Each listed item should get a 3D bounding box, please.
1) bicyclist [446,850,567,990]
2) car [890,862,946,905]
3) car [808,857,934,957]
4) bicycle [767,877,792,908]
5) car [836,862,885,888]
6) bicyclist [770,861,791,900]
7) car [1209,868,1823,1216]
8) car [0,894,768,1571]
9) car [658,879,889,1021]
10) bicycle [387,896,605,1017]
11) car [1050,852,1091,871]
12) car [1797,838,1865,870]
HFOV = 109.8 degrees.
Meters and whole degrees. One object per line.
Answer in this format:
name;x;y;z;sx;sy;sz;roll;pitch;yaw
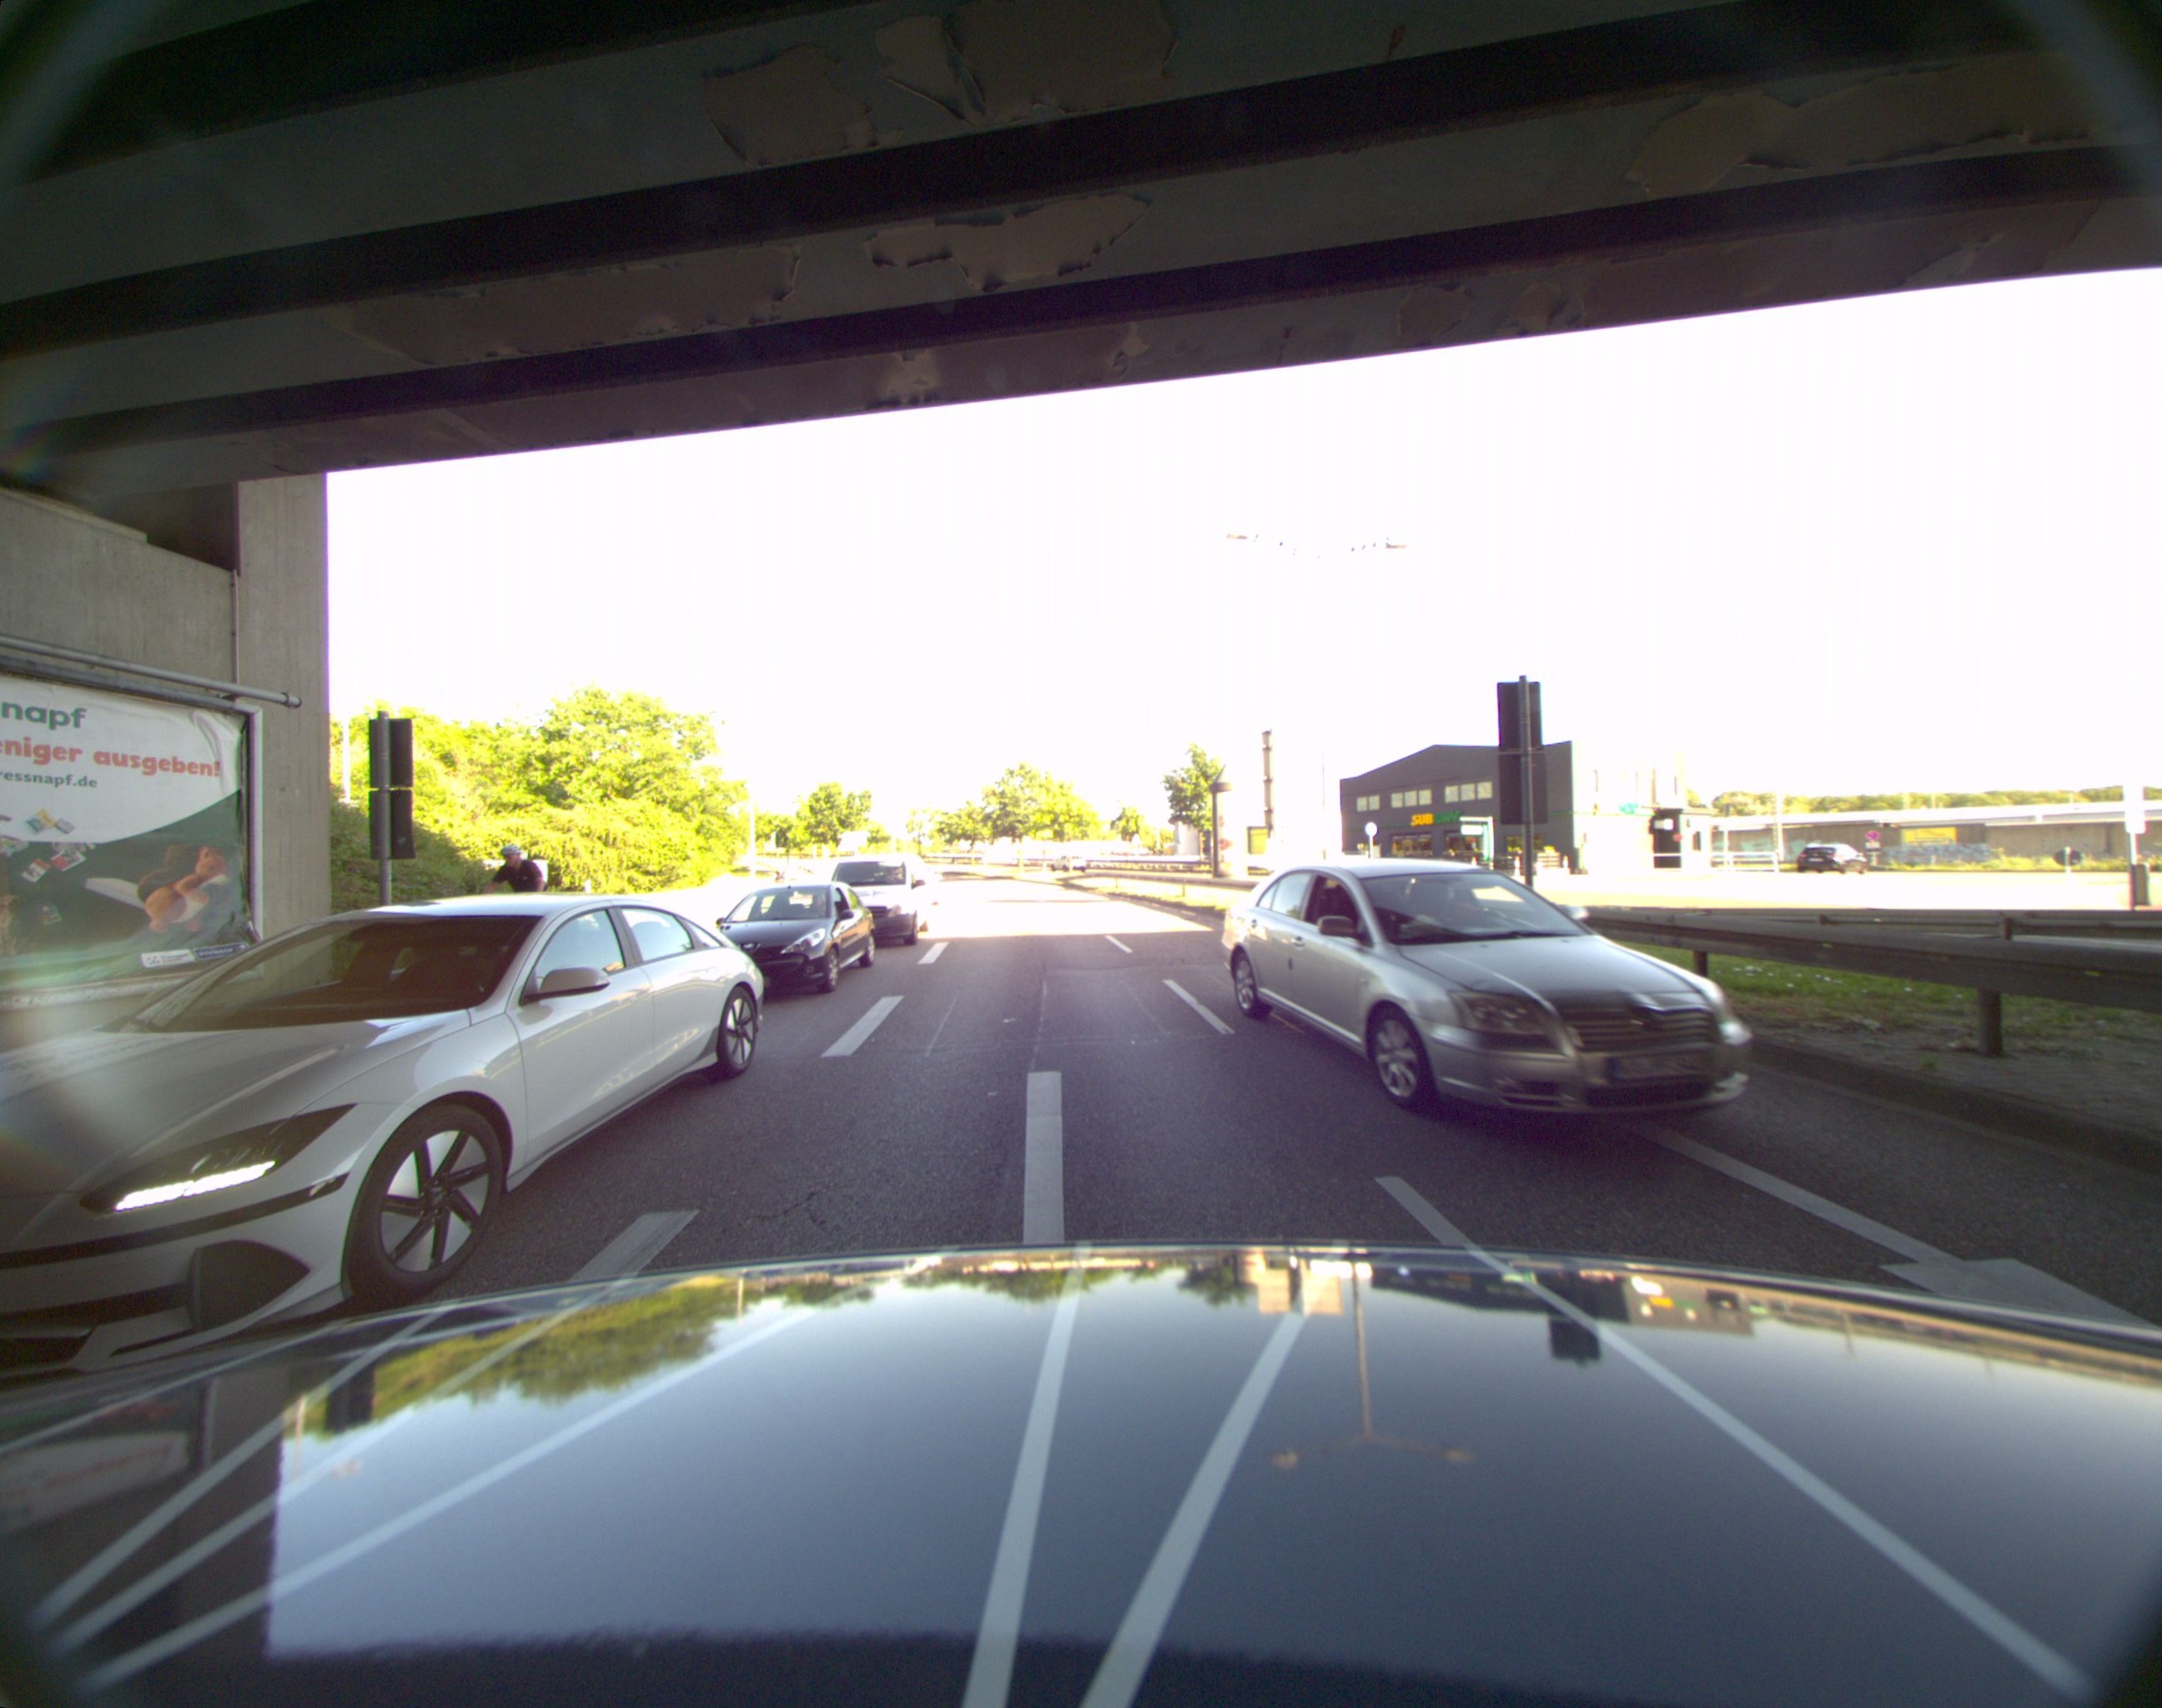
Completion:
bicyclist;-7.168;0.788;9.534;0.748;1.646;0.886;-3;1;0
car;-6.711;1.177;31.656;2.000;1.542;4.417;-2;1;-9
car;-4.435;1.007;16.814;1.903;1.825;4.832;-2;0;-7
bicycle;-11.971;1.519;30.205;0.653;1.160;1.776;1;-1;-15
car;-14.798;1.354;51.231;1.818;1.586;4.535;-2;0;2
bicyclist;-11.971;1.067;30.257;0.655;1.524;0.846;1;0;-14
car;2.455;0.898;5.747;1.702;1.446;4.395;-3;0;-7
car;-3.449;1.098;4.182;1.750;1.447;4.662;-2;0;-4
car;-4.008;1.163;10.602;1.750;1.447;3.715;-2;0;-2
bicycle;-7.153;1.186;9.522;0.767;1.139;2.469;-3;1;0
car;-0.912;0.630;64.940;1.808;1.597;4.287;-2;0;-25
car;38.413;-0.010;38.895;4.007;1.434;1.878;-3;1;-37
